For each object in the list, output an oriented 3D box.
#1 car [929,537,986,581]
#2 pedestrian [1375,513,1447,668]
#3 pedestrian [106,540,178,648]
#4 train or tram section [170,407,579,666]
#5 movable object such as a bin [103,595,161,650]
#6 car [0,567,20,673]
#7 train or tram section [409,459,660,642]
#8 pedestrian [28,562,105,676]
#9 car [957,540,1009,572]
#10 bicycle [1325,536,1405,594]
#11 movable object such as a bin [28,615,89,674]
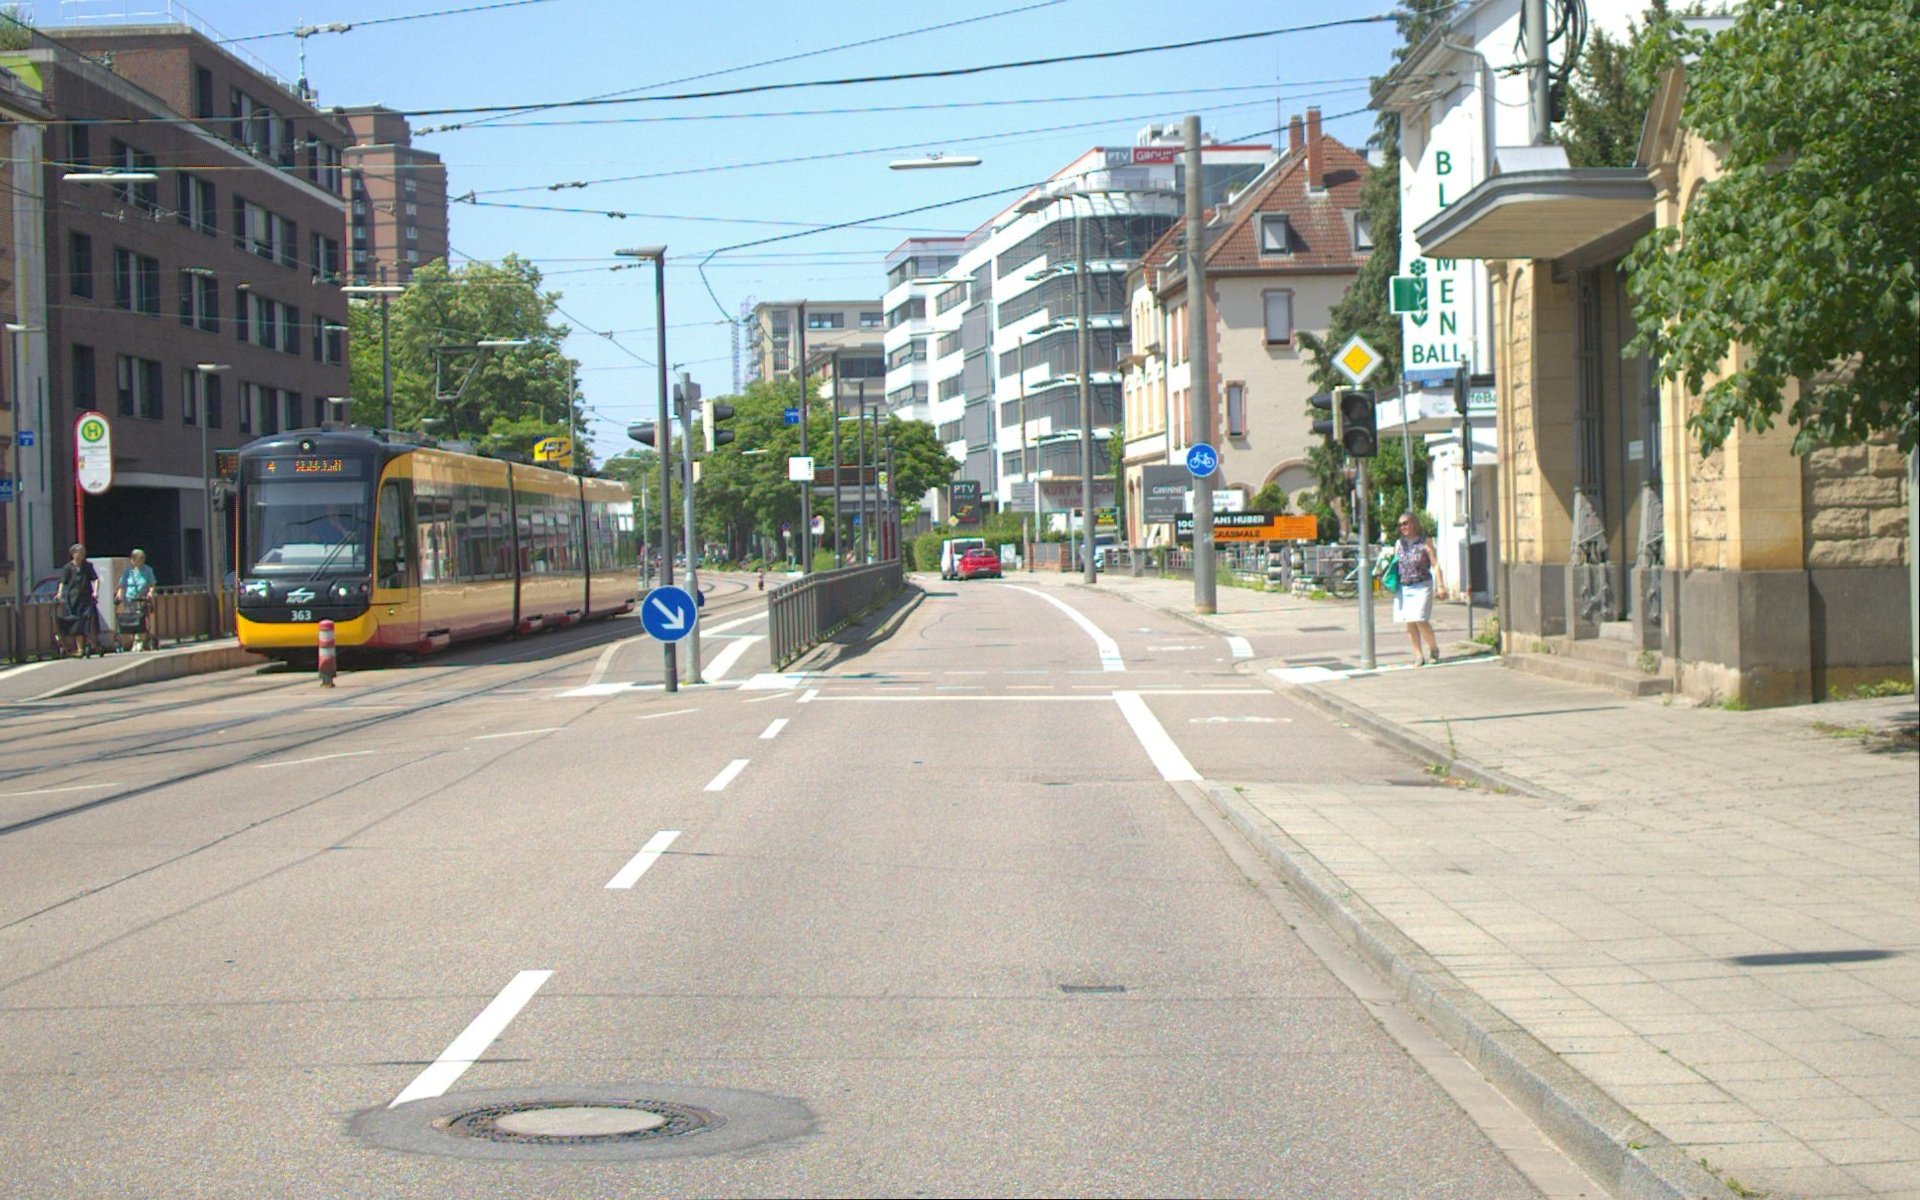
[{"bbox_3d":[-0.133,-1.980,166.532,1.993,1.985,5.516,-3,1,-7],"label":"car"},{"bbox_3d":[4.926,-0.106,37.525,0.564,1.660,0.681,-1,1,24],"label":"pedestrian"},{"bbox_3d":[-12.063,-0.096,50.714,0.785,1.555,0.920,-2,1,1],"label":"pedestrian"},{"bbox_3d":[-9.401,-0.993,58.791,3.250,3.555,20.501,-2,1,0],"label":"train or tram section"},{"bbox_3d":[-12.070,0.324,50.130,0.675,0.778,0.619,-2,1,-1],"label":"movable object such as a bin"},{"bbox_3d":[-15.576,0.356,51.470,1.735,1.610,4.605,-2,1,-1],"label":"car"},{"bbox_3d":[-9.233,-1.072,77.045,3.235,3.555,16.349,-2,1,1],"label":"train or tram section"},{"bbox_3d":[-12.529,0.254,48.232,0.785,1.555,0.920,-2,1,1],"label":"pedestrian"},{"bbox_3d":[1.039,-2.050,159.852,1.993,1.437,4.017,-2,1,-5],"label":"car"},{"bbox_3d":[8.141,-0.705,69.102,1.533,1.082,0.429,-3,1,7],"label":"bicycle"},{"bbox_3d":[-12.505,0.618,47.695,0.675,0.778,0.538,-2,1,-1],"label":"movable object such as a bin"}]
